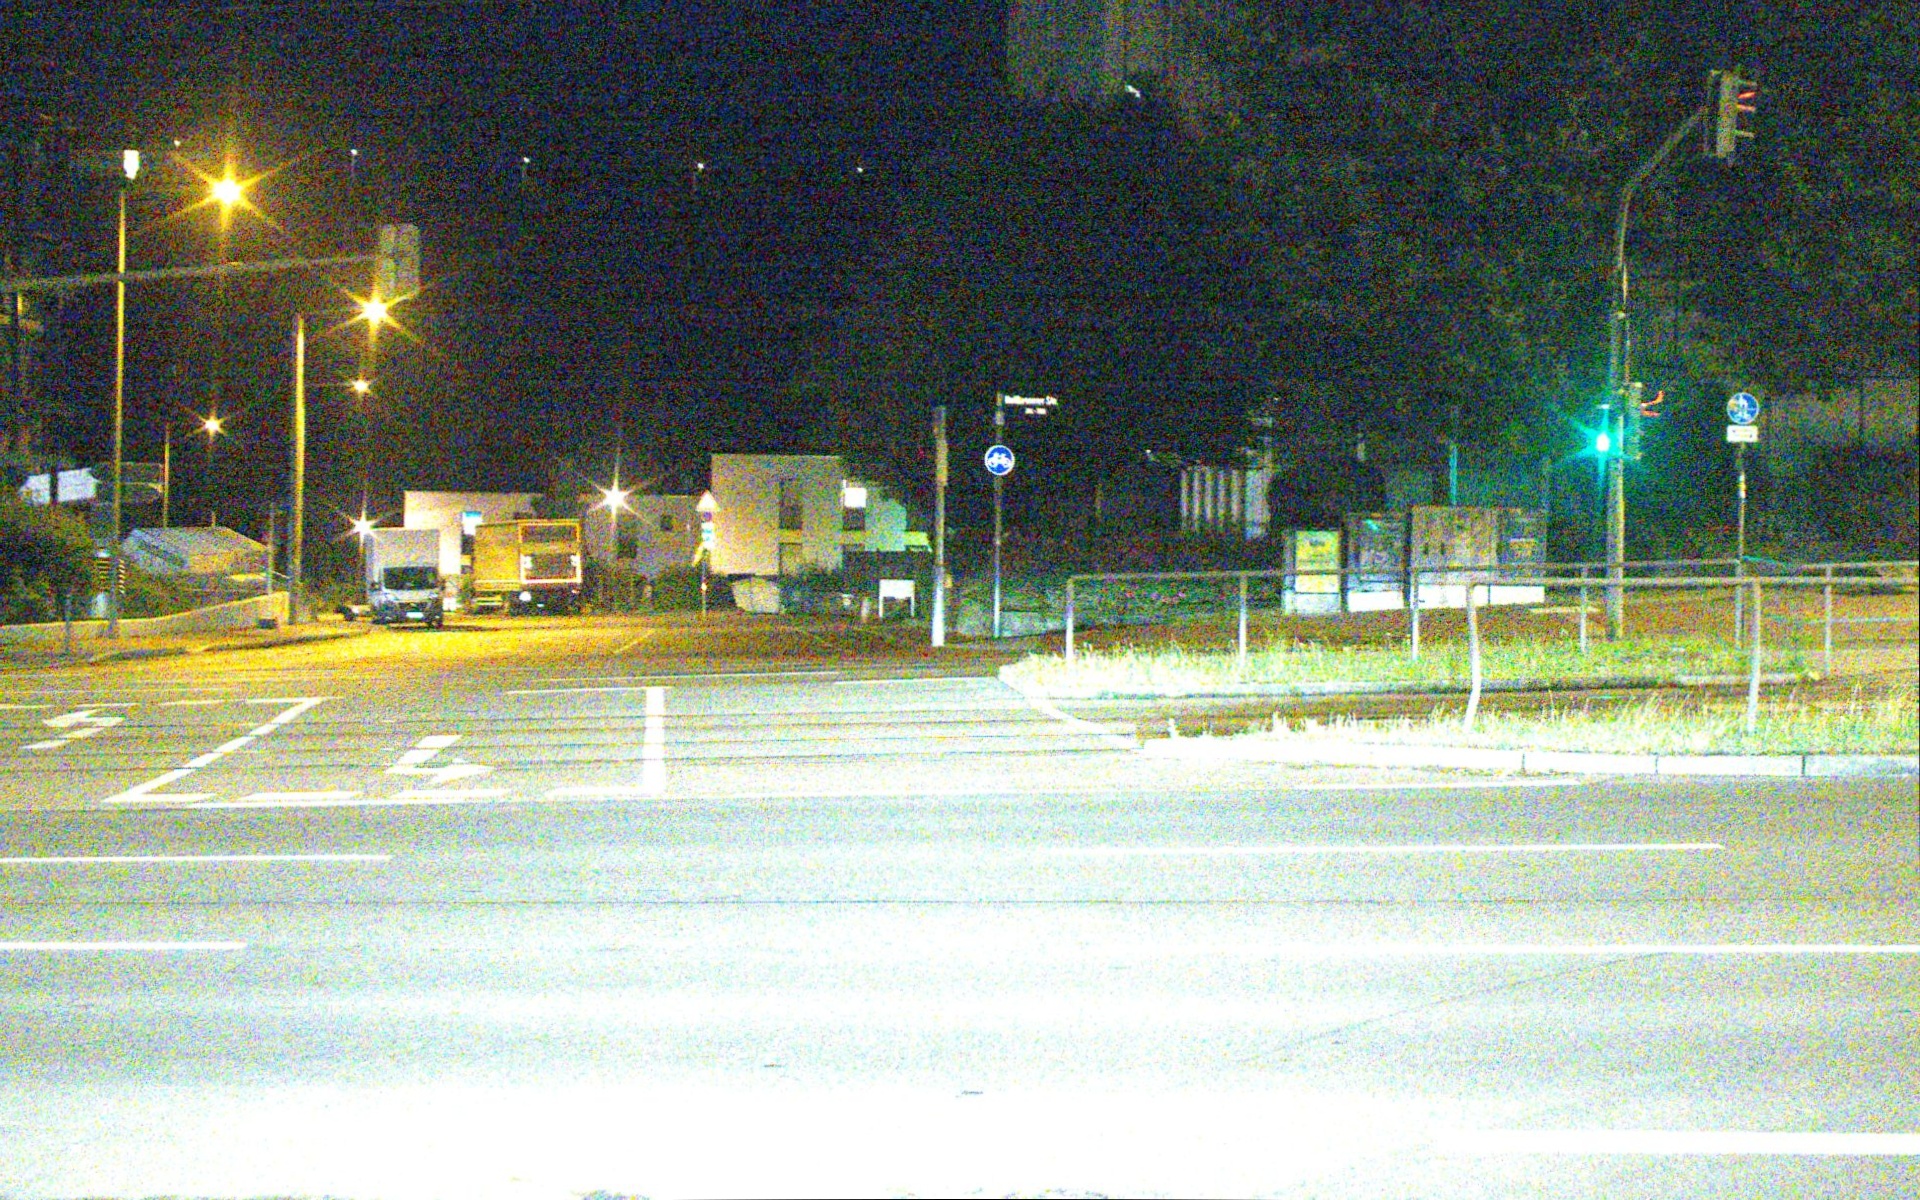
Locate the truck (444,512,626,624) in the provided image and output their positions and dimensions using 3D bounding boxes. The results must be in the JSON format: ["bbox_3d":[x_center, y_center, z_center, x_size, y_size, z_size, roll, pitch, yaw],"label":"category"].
[{"bbox_3d":[-18.196,-1.412,146.115,4.822,4.531,12.669,0,1,-21],"label":"truck"}]

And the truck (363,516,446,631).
[{"bbox_3d":[-18.455,-0.893,114.008,2.582,3.694,5.739,0,1,-11],"label":"truck"}]
